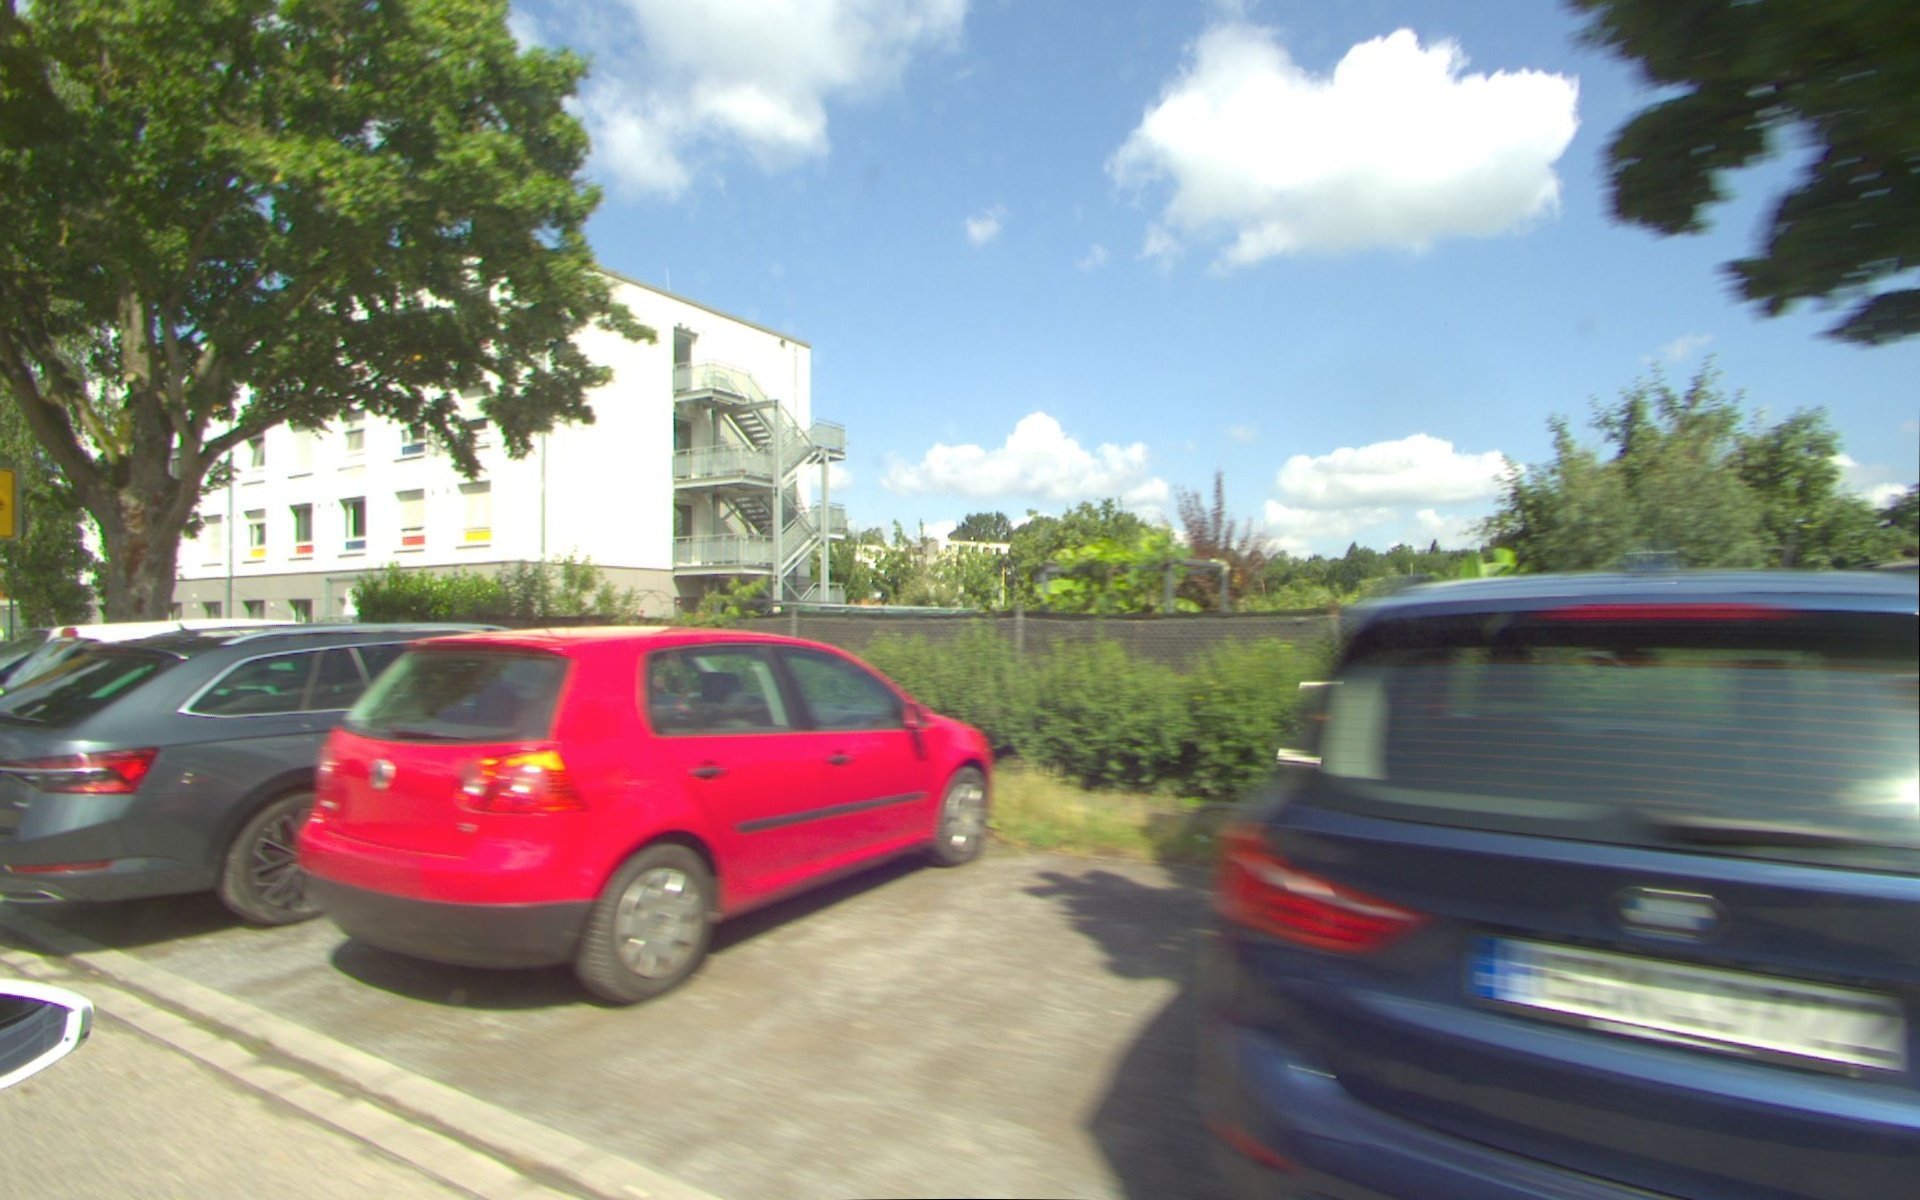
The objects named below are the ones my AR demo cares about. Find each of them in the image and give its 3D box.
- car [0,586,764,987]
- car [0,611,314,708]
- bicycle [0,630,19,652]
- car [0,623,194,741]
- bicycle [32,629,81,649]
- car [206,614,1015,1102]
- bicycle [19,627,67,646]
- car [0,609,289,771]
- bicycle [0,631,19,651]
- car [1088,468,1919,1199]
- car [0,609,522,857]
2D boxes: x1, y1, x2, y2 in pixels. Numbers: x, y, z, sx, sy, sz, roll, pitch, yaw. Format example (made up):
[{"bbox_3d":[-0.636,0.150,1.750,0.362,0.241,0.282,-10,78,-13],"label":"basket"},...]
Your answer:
[{"bbox_3d":[-3.464,0.851,6.412,1.782,1.598,4.545,-1,-3,30],"label":"car"},{"bbox_3d":[-14.351,0.966,18.018,1.733,1.449,4.233,-1,0,31],"label":"car"},{"bbox_3d":[-51.988,2.226,53.747,0.617,1.134,2.082,0,0,36],"label":"bicycle"},{"bbox_3d":[-12.471,1.023,12.495,1.695,1.410,4.345,-1,-1,35],"label":"car"},{"bbox_3d":[-53.377,2.268,59.198,0.679,1.094,2.041,0,0,35],"label":"bicycle"},{"bbox_3d":[-1.374,0.854,5.278,1.736,1.552,3.803,-1,-1,32],"label":"car"},{"bbox_3d":[-55.748,2.201,60.877,0.679,1.094,2.041,0,0,35],"label":"bicycle"},{"bbox_3d":[-9.883,0.921,10.854,1.840,1.579,3.930,-1,-3,30],"label":"car"},{"bbox_3d":[-53.013,2.257,54.873,0.679,1.094,2.041,0,0,35],"label":"bicycle"},{"bbox_3d":[2.140,0.684,3.191,1.852,1.659,4.146,-1,-1,33],"label":"car"},{"bbox_3d":[-5.737,0.929,8.339,1.641,1.568,3.572,0,-3,28],"label":"car"}]
